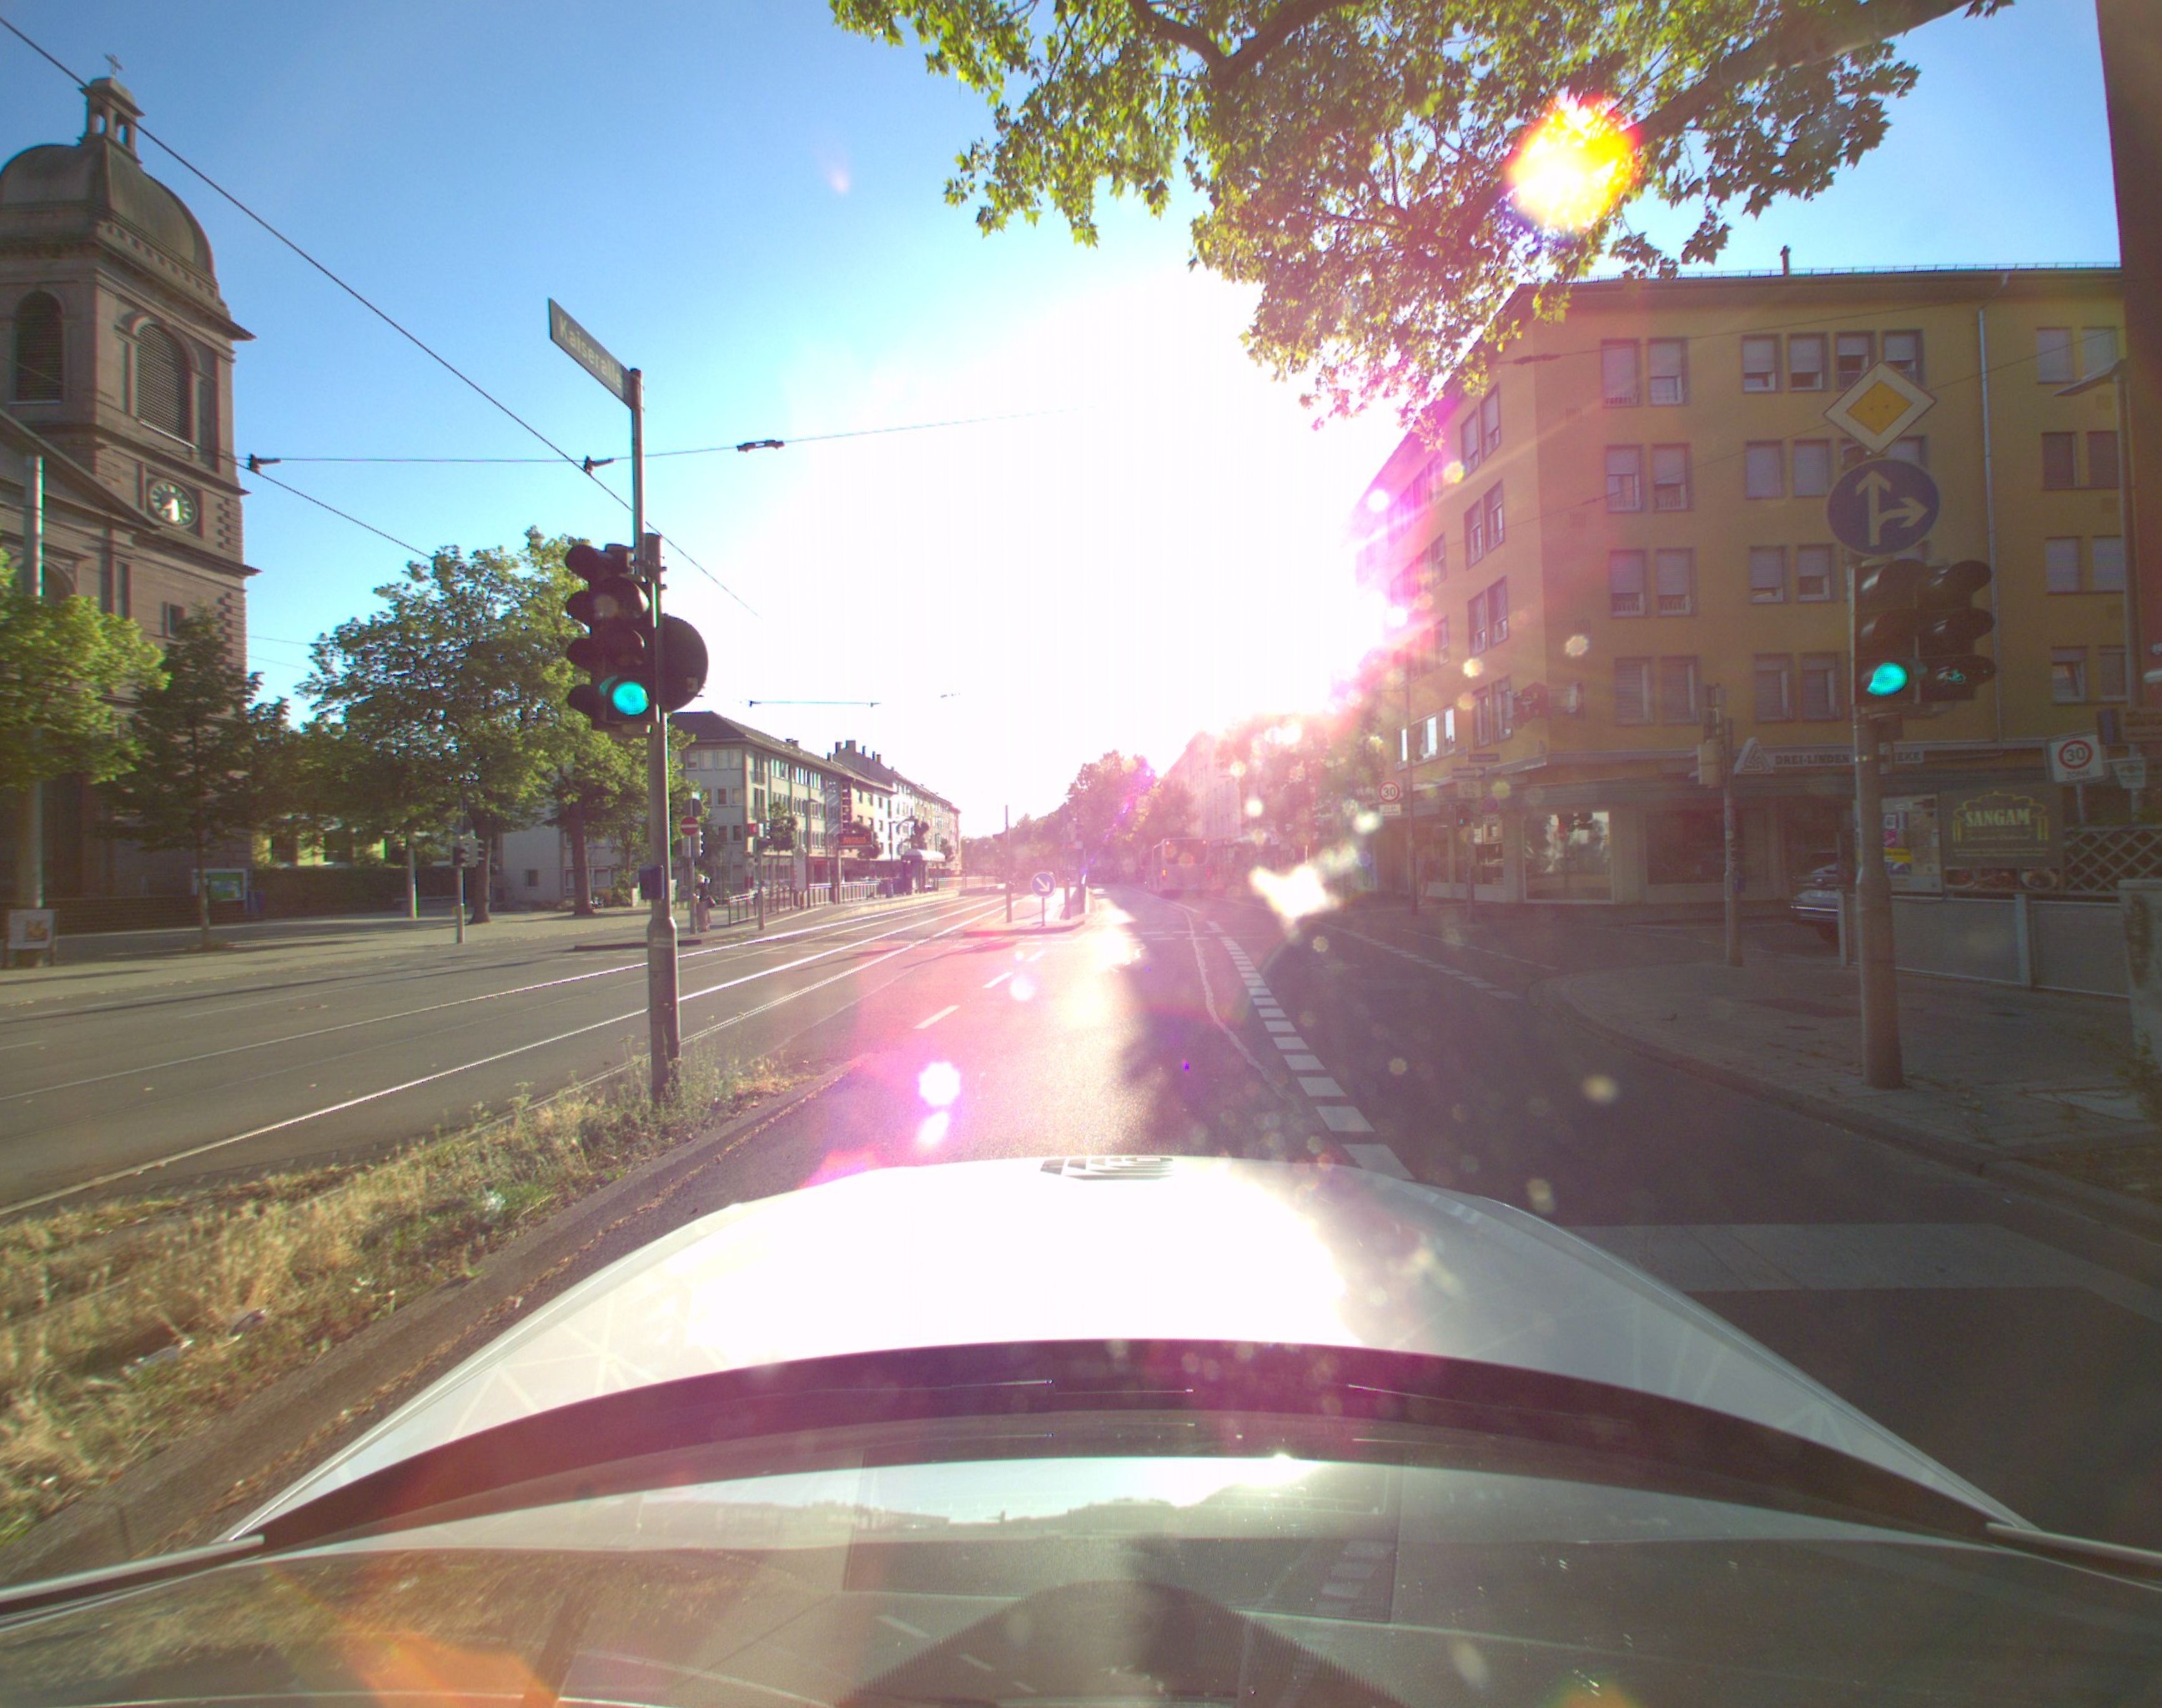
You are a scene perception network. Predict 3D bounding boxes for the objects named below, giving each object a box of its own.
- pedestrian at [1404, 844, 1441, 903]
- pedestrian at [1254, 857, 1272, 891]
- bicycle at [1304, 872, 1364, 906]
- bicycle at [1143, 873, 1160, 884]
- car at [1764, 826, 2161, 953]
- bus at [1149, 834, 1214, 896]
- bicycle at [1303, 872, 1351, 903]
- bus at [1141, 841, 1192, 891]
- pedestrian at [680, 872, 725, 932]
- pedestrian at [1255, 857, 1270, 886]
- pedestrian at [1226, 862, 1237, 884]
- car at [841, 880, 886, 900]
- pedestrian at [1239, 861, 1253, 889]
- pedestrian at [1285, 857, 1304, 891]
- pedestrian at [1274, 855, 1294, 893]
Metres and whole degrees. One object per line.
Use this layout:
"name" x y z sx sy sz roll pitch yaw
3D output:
"pedestrian" 10.761 0.613 25.673 0.741 1.780 0.894 -2 -2 0
"pedestrian" 9.772 1.083 43.686 0.721 1.779 0.766 -2 -2 0
"bicycle" 8.492 1.180 27.388 1.794 1.008 0.540 -4 -1 -3
"bicycle" 8.403 2.952 97.123 1.879 1.077 0.755 -6 -2 3
"car" 13.443 0.523 12.551 4.327 1.686 1.772 -2 -1 0
"bus" 5.522 0.657 46.389 2.687 3.118 9.382 -1 -1 1
"bicycle" 8.464 1.157 28.005 1.479 1.008 0.454 -2 -1 -3
"bus" 5.709 0.861 55.630 2.687 3.118 9.070 -1 -1 1
"pedestrian" -11.524 1.459 24.819 0.915 1.760 0.832 -2 -2 2
"pedestrian" 11.538 1.115 51.676 0.721 1.840 0.766 -2 -2 0
"pedestrian" 11.521 1.478 62.340 0.721 1.632 0.766 -2 -1 0
"car" -19.637 3.249 73.622 1.748 1.679 3.533 -2 -1 37
"pedestrian" 9.779 1.239 48.258 0.608 1.578 0.851 -2 -1 2
"pedestrian" 11.101 1.062 42.379 0.721 1.723 0.766 -2 -2 0
"pedestrian" 9.955 0.976 39.997 0.721 1.807 0.766 -2 -2 0
